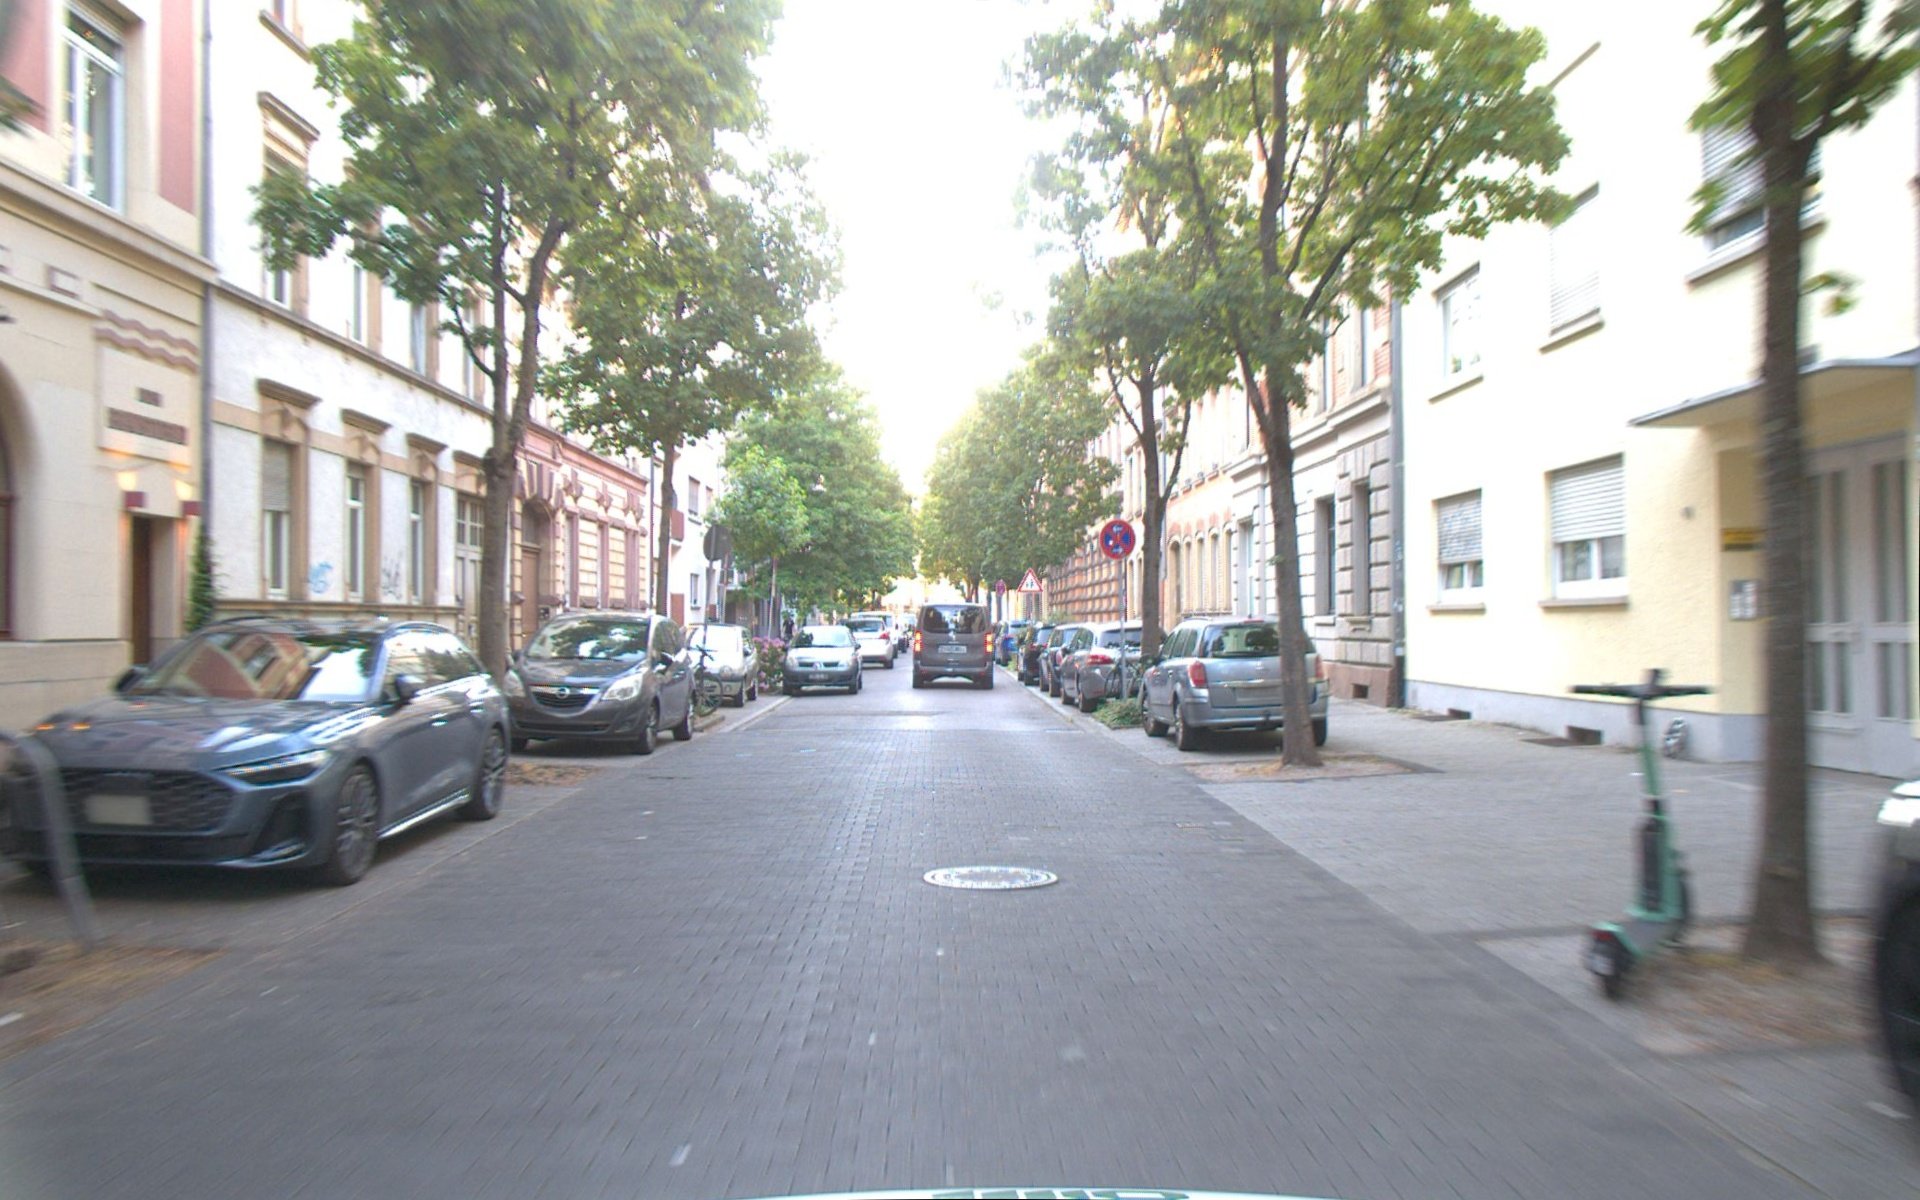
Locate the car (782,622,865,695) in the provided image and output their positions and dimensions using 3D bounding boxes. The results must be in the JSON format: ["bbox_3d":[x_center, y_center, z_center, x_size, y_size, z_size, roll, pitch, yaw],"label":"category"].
[{"bbox_3d":[-2.883,1.219,35.430,1.548,1.445,3.751,-1,-1,-2],"label":"car"}]

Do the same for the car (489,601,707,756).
[{"bbox_3d":[-4.156,0.849,19.605,1.671,1.608,4.077,1,0,0],"label":"car"}]

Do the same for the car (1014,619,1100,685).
[{"bbox_3d":[2.305,1.226,40.371,1.731,1.440,4.472,-2,-1,-1],"label":"car"}]

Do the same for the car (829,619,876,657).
[{"bbox_3d":[-5.036,1.757,77.760,1.953,1.675,4.920,1,-1,-1],"label":"car"}]

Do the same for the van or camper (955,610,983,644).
[{"bbox_3d":[0.681,2.120,131.286,1.953,2.645,5.421,0,-1,-2],"label":"van or camper"}]

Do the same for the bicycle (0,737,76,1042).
[{"bbox_3d":[-4.139,0.992,5.936,1.649,1.021,0.430,3,-1,0],"label":"bicycle"}]

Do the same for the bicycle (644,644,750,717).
[{"bbox_3d":[-4.169,1.262,26.151,1.795,1.104,0.664,-1,-3,42],"label":"bicycle"}]

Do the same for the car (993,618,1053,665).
[{"bbox_3d":[2.057,1.371,55.051,1.595,1.492,4.242,-1,-1,-3],"label":"car"}]

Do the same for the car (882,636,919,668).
[{"bbox_3d":[-2.958,2.558,82.650,1.793,1.544,4.514,0,-1,-2],"label":"car"}]

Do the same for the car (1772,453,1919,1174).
[{"bbox_3d":[3.483,0.496,2.524,1.973,1.865,4.809,-2,-1,-1],"label":"car"}]

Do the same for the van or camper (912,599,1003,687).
[{"bbox_3d":[-0.033,0.983,38.469,1.993,1.931,4.270,0,-1,1],"label":"van or camper"}]

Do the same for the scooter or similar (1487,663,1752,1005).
[{"bbox_3d":[2.698,0.893,6.727,0.663,1.211,1.111,-4,-2,38],"label":"scooter or similar"}]

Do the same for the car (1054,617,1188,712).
[{"bbox_3d":[2.750,1.077,29.116,1.682,1.502,4.365,-2,-1,-3],"label":"car"}]

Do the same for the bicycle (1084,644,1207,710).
[{"bbox_3d":[2.945,1.203,26.219,1.889,0.999,0.634,0,-1,-23],"label":"bicycle"}]

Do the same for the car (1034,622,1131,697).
[{"bbox_3d":[2.520,1.204,34.719,1.603,1.449,3.562,-1,-1,-2],"label":"car"}]

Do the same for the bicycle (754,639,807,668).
[{"bbox_3d":[-5.669,1.689,52.210,1.643,0.914,0.379,1,-2,-31],"label":"bicycle"}]

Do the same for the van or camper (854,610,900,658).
[{"bbox_3d":[-3.419,1.395,68.295,1.839,1.875,4.750,-1,-1,-3],"label":"van or camper"}]

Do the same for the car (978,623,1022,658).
[{"bbox_3d":[1.723,1.751,72.051,1.659,1.426,4.644,-1,-1,-2],"label":"car"}]

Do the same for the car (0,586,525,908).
[{"bbox_3d":[-4.220,0.750,10.423,1.769,1.544,4.683,1,-1,-1],"label":"car"}]

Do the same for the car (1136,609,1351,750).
[{"bbox_3d":[3.278,0.879,19.940,1.723,1.489,4.306,-1,-1,-2],"label":"car"}]

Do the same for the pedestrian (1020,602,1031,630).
[{"bbox_3d":[3.944,0.980,100.055,0.614,1.677,0.531,0,-1,-1],"label":"pedestrian"}]

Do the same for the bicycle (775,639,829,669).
[{"bbox_3d":[-4.907,1.684,51.457,1.682,0.923,0.379,1,-2,-31],"label":"bicycle"}]

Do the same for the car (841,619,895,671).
[{"bbox_3d":[-2.979,1.409,53.041,1.630,1.590,3.996,-1,-1,-4],"label":"car"}]

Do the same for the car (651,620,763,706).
[{"bbox_3d":[-4.580,1.114,30.327,1.555,1.462,3.564,1,-1,-1],"label":"car"}]
